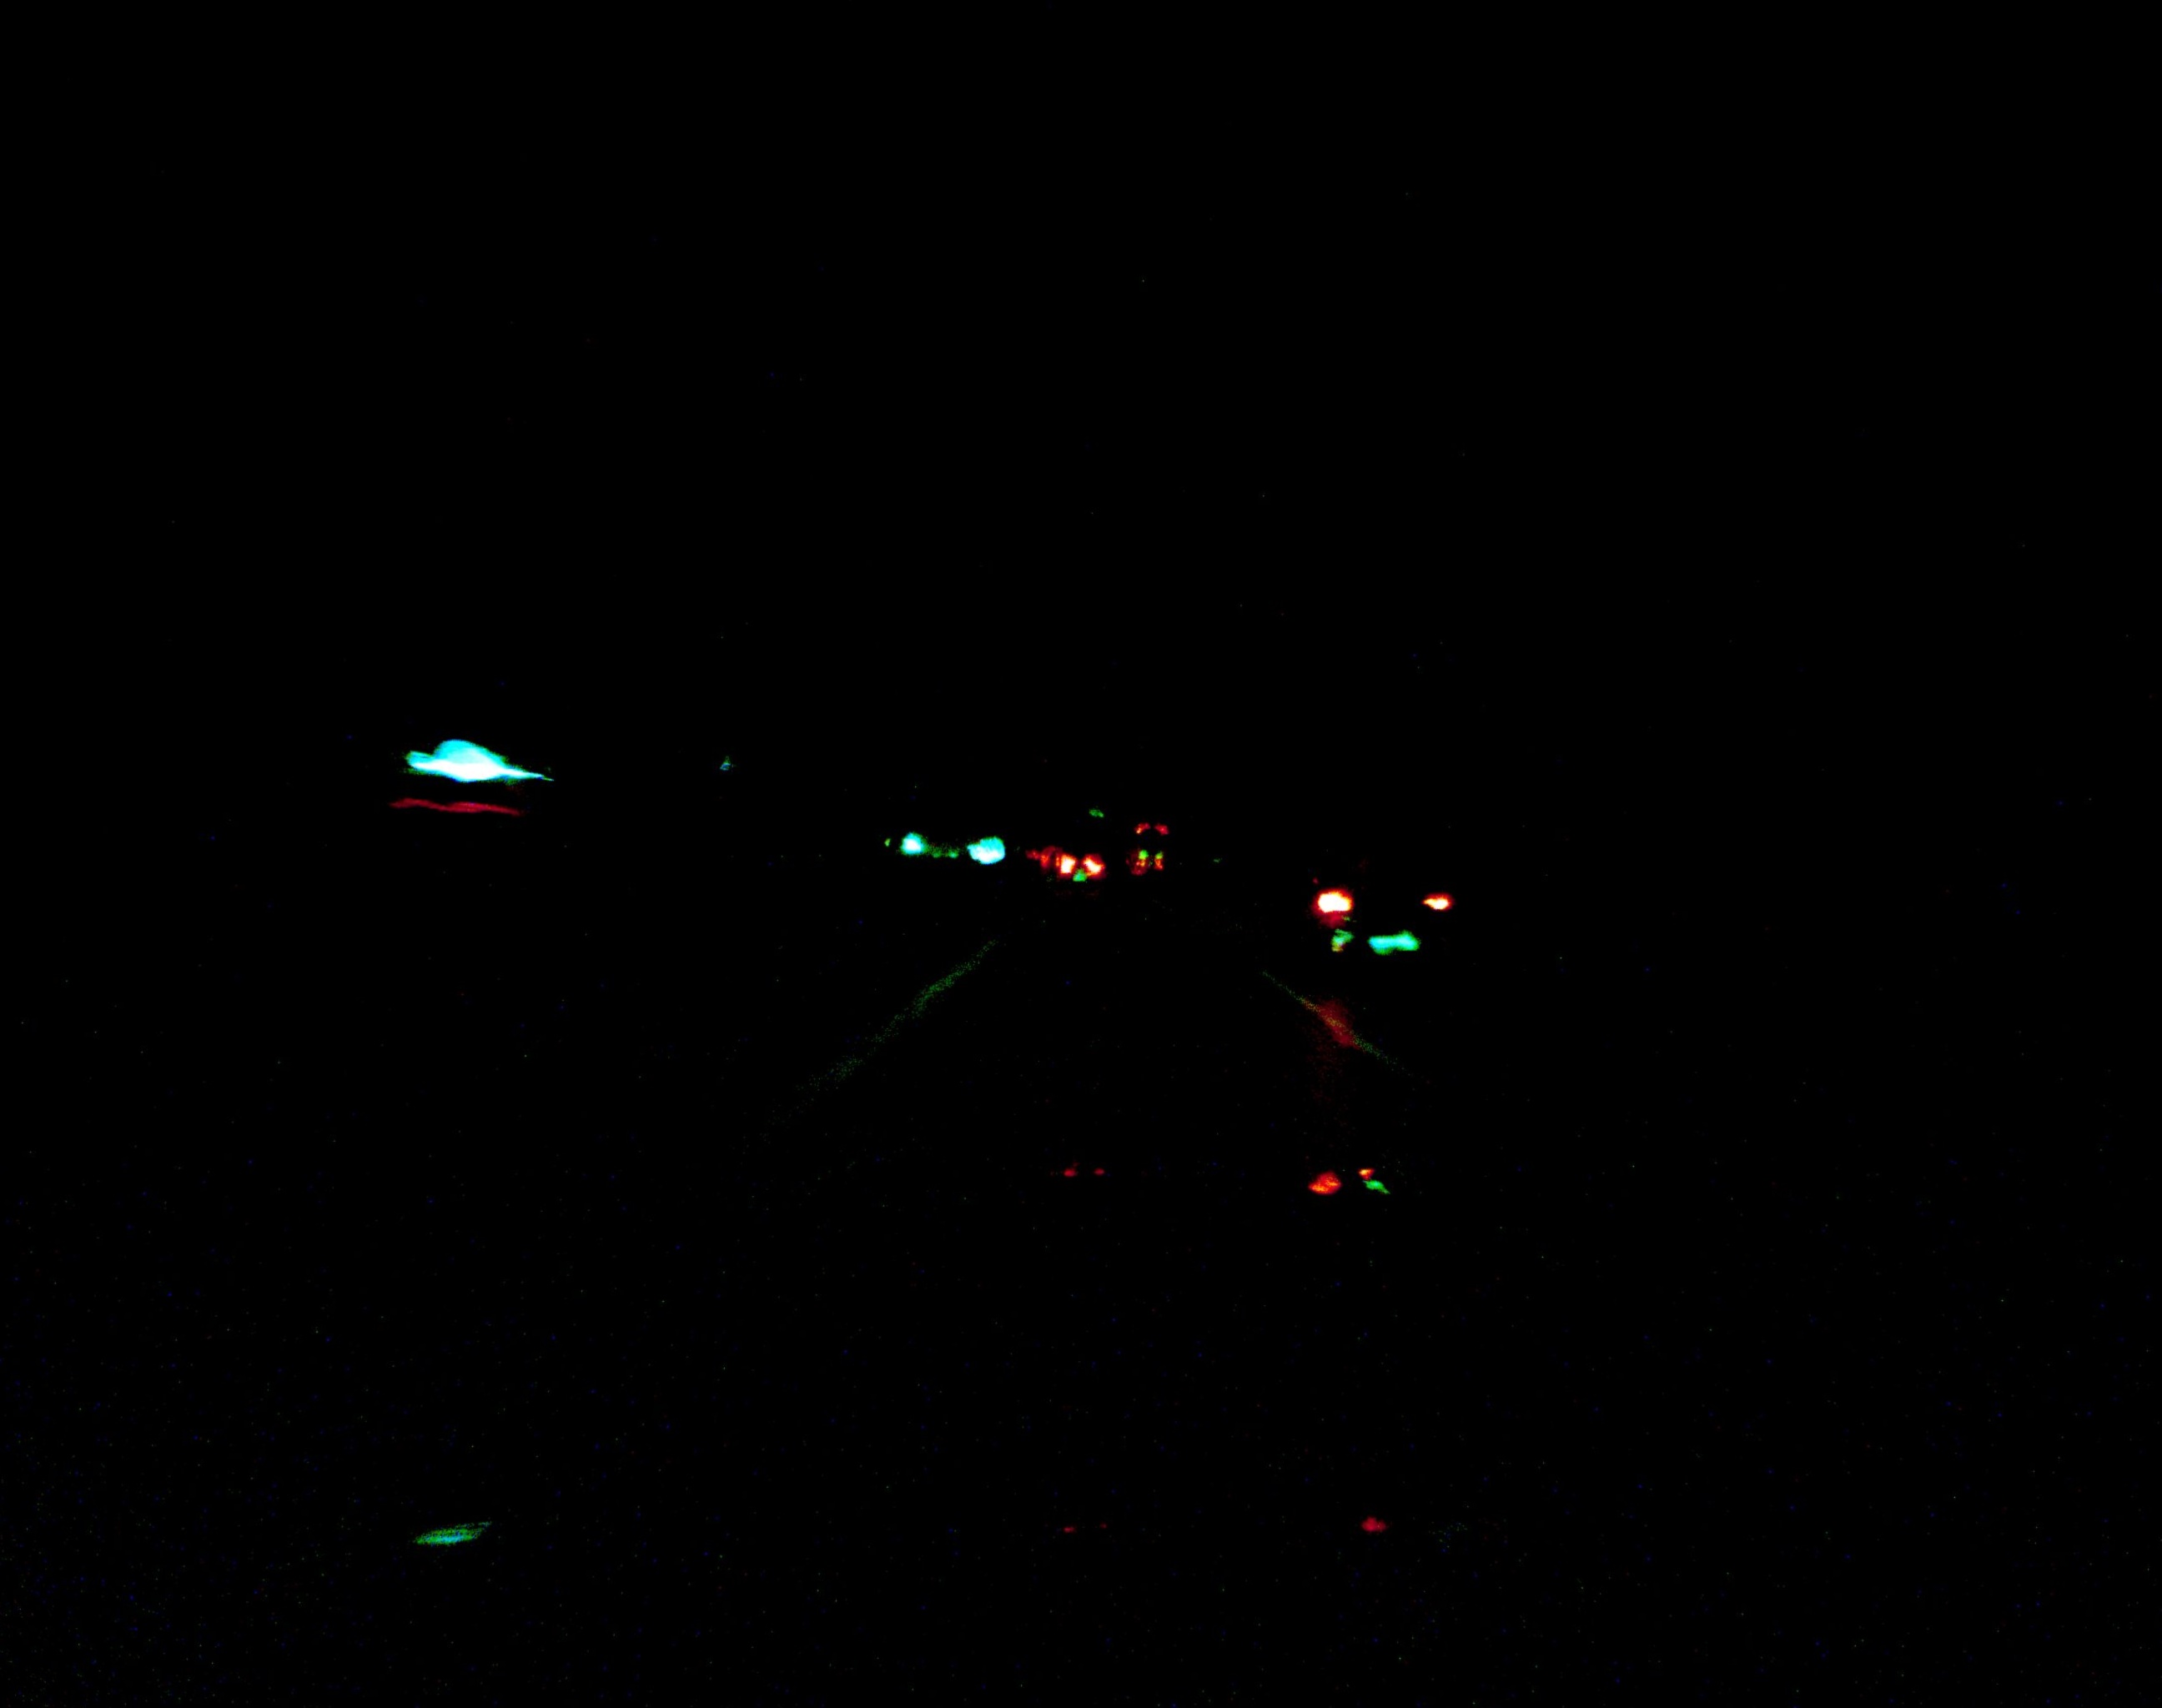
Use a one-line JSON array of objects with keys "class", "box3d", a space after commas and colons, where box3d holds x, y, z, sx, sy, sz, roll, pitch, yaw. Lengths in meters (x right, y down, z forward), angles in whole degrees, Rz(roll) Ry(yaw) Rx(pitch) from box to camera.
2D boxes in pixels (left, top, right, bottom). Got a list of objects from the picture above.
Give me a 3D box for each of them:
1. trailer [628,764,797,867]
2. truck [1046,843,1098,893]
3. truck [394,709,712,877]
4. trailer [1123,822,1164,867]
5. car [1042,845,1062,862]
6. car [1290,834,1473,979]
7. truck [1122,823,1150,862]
[{"class": "trailer", "box3d": [-15.772, -1.603, 35.934, 2.919, 3.748, 9.500, 4, 1, 0]}, {"class": "truck", "box3d": [-0.335, 0.600, 40.195, 2.137, 2.077, 6.607, 4, 1, 2]}, {"class": "truck", "box3d": [-15.744, -1.672, 25.900, 2.938, 4.036, 10.653, 4, 1, 0]}, {"class": "trailer", "box3d": [6.483, -1.139, 86.541, 2.732, 4.247, 13.361, -2, 2, -2]}, {"class": "car", "box3d": [-3.808, -0.057, 105.782, 1.993, 2.014, 3.986, -2, -1, -10]}, {"class": "car", "box3d": [3.926, 0.559, 11.330, 1.788, 1.617, 4.271, 0, 1, 12]}, {"class": "truck", "box3d": [6.210, -1.336, 92.936, 2.704, 4.241, 5.289, 0, 1, -2]}]
